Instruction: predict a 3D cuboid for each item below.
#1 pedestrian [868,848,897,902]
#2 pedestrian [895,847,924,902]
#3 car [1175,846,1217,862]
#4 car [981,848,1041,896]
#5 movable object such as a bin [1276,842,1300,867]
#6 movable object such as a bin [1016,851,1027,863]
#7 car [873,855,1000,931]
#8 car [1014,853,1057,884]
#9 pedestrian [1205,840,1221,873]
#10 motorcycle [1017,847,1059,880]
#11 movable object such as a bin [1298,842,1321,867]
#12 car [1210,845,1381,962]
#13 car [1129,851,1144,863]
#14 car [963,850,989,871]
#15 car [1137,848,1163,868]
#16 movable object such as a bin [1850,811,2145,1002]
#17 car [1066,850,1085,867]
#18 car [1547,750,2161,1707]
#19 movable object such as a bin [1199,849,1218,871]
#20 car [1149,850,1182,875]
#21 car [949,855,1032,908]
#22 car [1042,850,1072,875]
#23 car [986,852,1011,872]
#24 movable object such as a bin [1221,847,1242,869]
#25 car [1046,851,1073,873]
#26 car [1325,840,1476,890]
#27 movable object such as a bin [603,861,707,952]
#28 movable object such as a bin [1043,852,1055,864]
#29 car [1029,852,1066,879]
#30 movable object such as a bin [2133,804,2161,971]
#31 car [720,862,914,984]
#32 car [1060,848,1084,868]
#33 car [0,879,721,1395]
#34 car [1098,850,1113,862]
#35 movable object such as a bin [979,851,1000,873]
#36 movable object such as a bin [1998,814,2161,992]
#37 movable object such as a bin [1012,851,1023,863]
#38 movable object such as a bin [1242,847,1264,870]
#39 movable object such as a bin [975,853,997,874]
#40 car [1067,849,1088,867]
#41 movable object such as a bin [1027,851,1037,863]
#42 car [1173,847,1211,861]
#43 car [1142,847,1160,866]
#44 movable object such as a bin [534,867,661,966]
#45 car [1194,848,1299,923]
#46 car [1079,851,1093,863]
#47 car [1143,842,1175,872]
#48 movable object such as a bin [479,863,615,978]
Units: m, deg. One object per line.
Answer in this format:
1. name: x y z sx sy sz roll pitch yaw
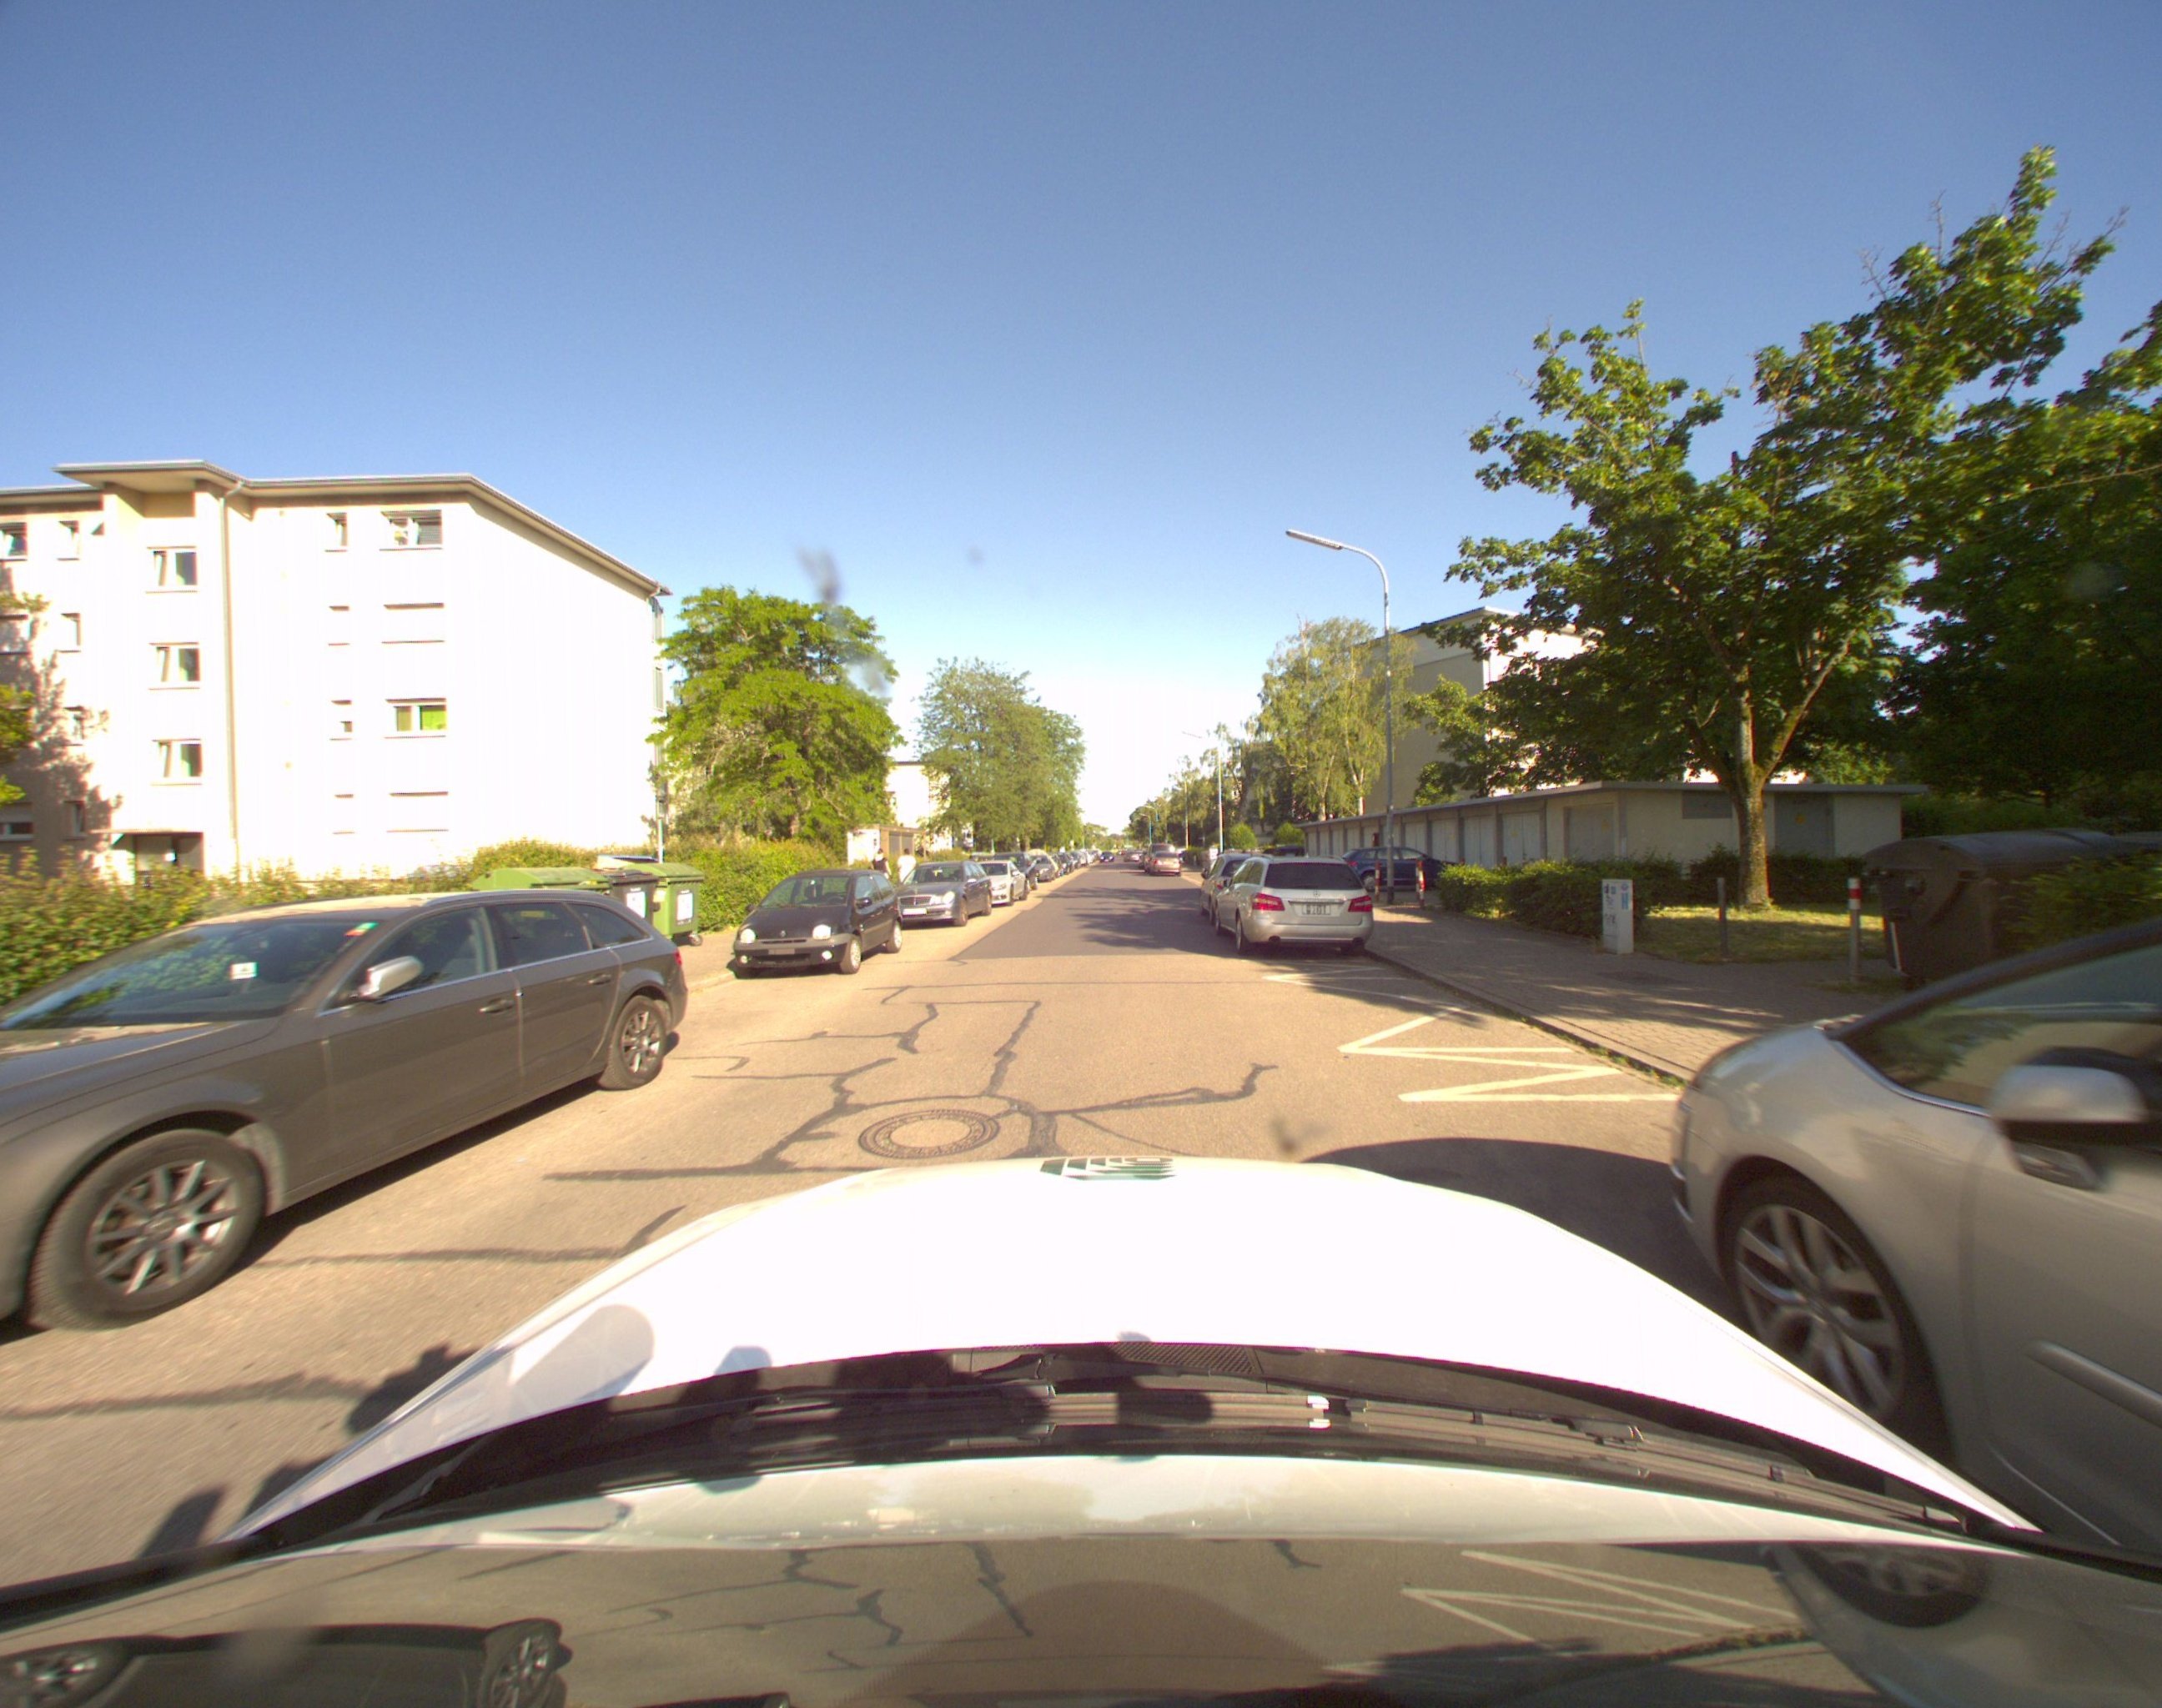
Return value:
1. pedestrian: -6.269 0.655 25.690 0.718 1.679 0.600 -1 0 2
2. pedestrian: -5.329 0.638 25.297 0.718 1.679 0.616 -1 0 2
3. car: 12.877 0.000 91.308 4.494 1.513 1.830 -2 0 3
4. car: -2.689 0.656 32.182 1.747 1.635 4.373 -3 0 2
5. movable object such as a bin: 13.206 0.013 52.003 1.270 1.465 1.135 -1 4 6
6. movable object such as a bin: -7.542 0.391 103.231 1.172 1.420 1.464 1 0 4
7. car: -3.306 0.845 19.655 1.746 1.490 4.906 -4 -1 4
8. car: -2.323 0.705 42.400 1.747 1.421 4.272 -3 0 2
9. pedestrian: 7.675 0.129 47.283 0.700 1.888 0.873 -4 0 3
10. motorcycle: -2.417 0.543 46.195 2.249 1.726 0.932 -4 0 -1
11. movable object such as a bin: 14.549 0.021 51.875 1.270 1.465 1.135 -1 4 6
12. car: 3.246 0.652 13.277 1.823 1.546 4.645 -1 0 4
13. car: 7.078 0.332 104.834 1.674 1.513 4.104 0 0 0
14. car: -8.521 0.516 66.416 1.565 1.641 4.000 0 0 1
15. car: 5.673 0.314 66.983 1.726 1.490 4.501 -2 0 0
16. movable object such as a bin: 7.821 0.410 7.026 1.322 1.428 1.069 -4 0 -4
17. car: -0.485 0.418 78.049 1.629 1.606 3.536 -2 0 1
18. car: 2.632 0.633 1.020 1.746 1.627 4.499 -1 0 4
19. movable object such as a bin: 8.252 0.381 52.717 1.019 1.310 1.392 -4 0 12
20. car: 5.004 0.491 48.716 1.793 1.419 4.641 0 0 4
21. car: -2.733 0.796 25.498 1.746 1.425 4.215 -3 -1 4
22. car: -1.613 0.561 56.124 1.748 1.574 3.721 -3 0 1
23. car: -6.611 0.597 65.674 1.565 1.525 4.000 0 0 1
24. movable object such as a bin: 9.564 0.274 51.734 1.217 1.365 1.135 -1 0 6
25. car: -1.577 0.557 61.327 1.748 1.481 4.539 -3 0 1
26. car: 10.262 0.343 26.376 4.170 1.494 1.817 -1 0 -1
27. movable object such as a bin: -7.111 0.838 13.672 0.998 1.415 1.326 2 0 1
28. movable object such as a bin: -3.597 0.466 92.233 1.131 1.382 1.443 1 0 4
29. car: -2.001 0.665 50.240 1.746 1.481 3.964 -3 0 4
30. movable object such as a bin: 10.640 0.301 7.233 1.322 1.537 1.028 -1 0 -4
31. car: -3.807 0.922 12.375 1.642 1.464 3.497 -3 0 2
32. car: -0.802 0.333 73.074 1.747 1.606 3.972 -3 0 3
33. car: -3.981 0.931 4.497 1.748 1.385 4.676 -3 0 2
34. car: 3.332 0.192 108.198 1.903 1.476 4.573 -2 0 2
35. movable object such as a bin: -6.145 0.537 54.690 1.173 1.408 1.344 -1 0 3
36. movable object such as a bin: 9.250 0.384 7.128 1.322 1.431 1.028 -1 0 -4
37. movable object such as a bin: -7.799 0.391 100.376 1.172 1.420 1.464 1 0 4
38. movable object such as a bin: 10.830 0.266 51.300 1.270 1.365 1.135 -1 0 6
39. movable object such as a bin: -6.211 0.608 53.239 1.173 1.288 1.344 -1 0 3
40. car: -0.344 0.389 83.842 1.895 1.639 4.351 -2 0 2
41. movable object such as a bin: -6.230 0.382 103.767 1.129 1.420 1.362 1 0 4
42. car: 13.499 0.003 99.504 4.397 1.513 1.830 -2 0 2
43. car: 6.348 0.186 74.248 1.483 1.718 2.584 0 0 2
44. movable object such as a bin: -7.279 0.906 12.342 1.115 1.366 1.257 2 0 0
45. car: 3.622 0.632 18.442 1.796 1.494 3.799 -1 0 4
46. car: 0.688 0.418 106.048 1.681 1.505 3.818 -2 0 1
47. car: 5.205 0.188 54.621 1.845 1.934 4.707 0 0 2
48. movable object such as a bin: -7.153 0.854 10.992 0.891 1.415 1.326 2 0 1
